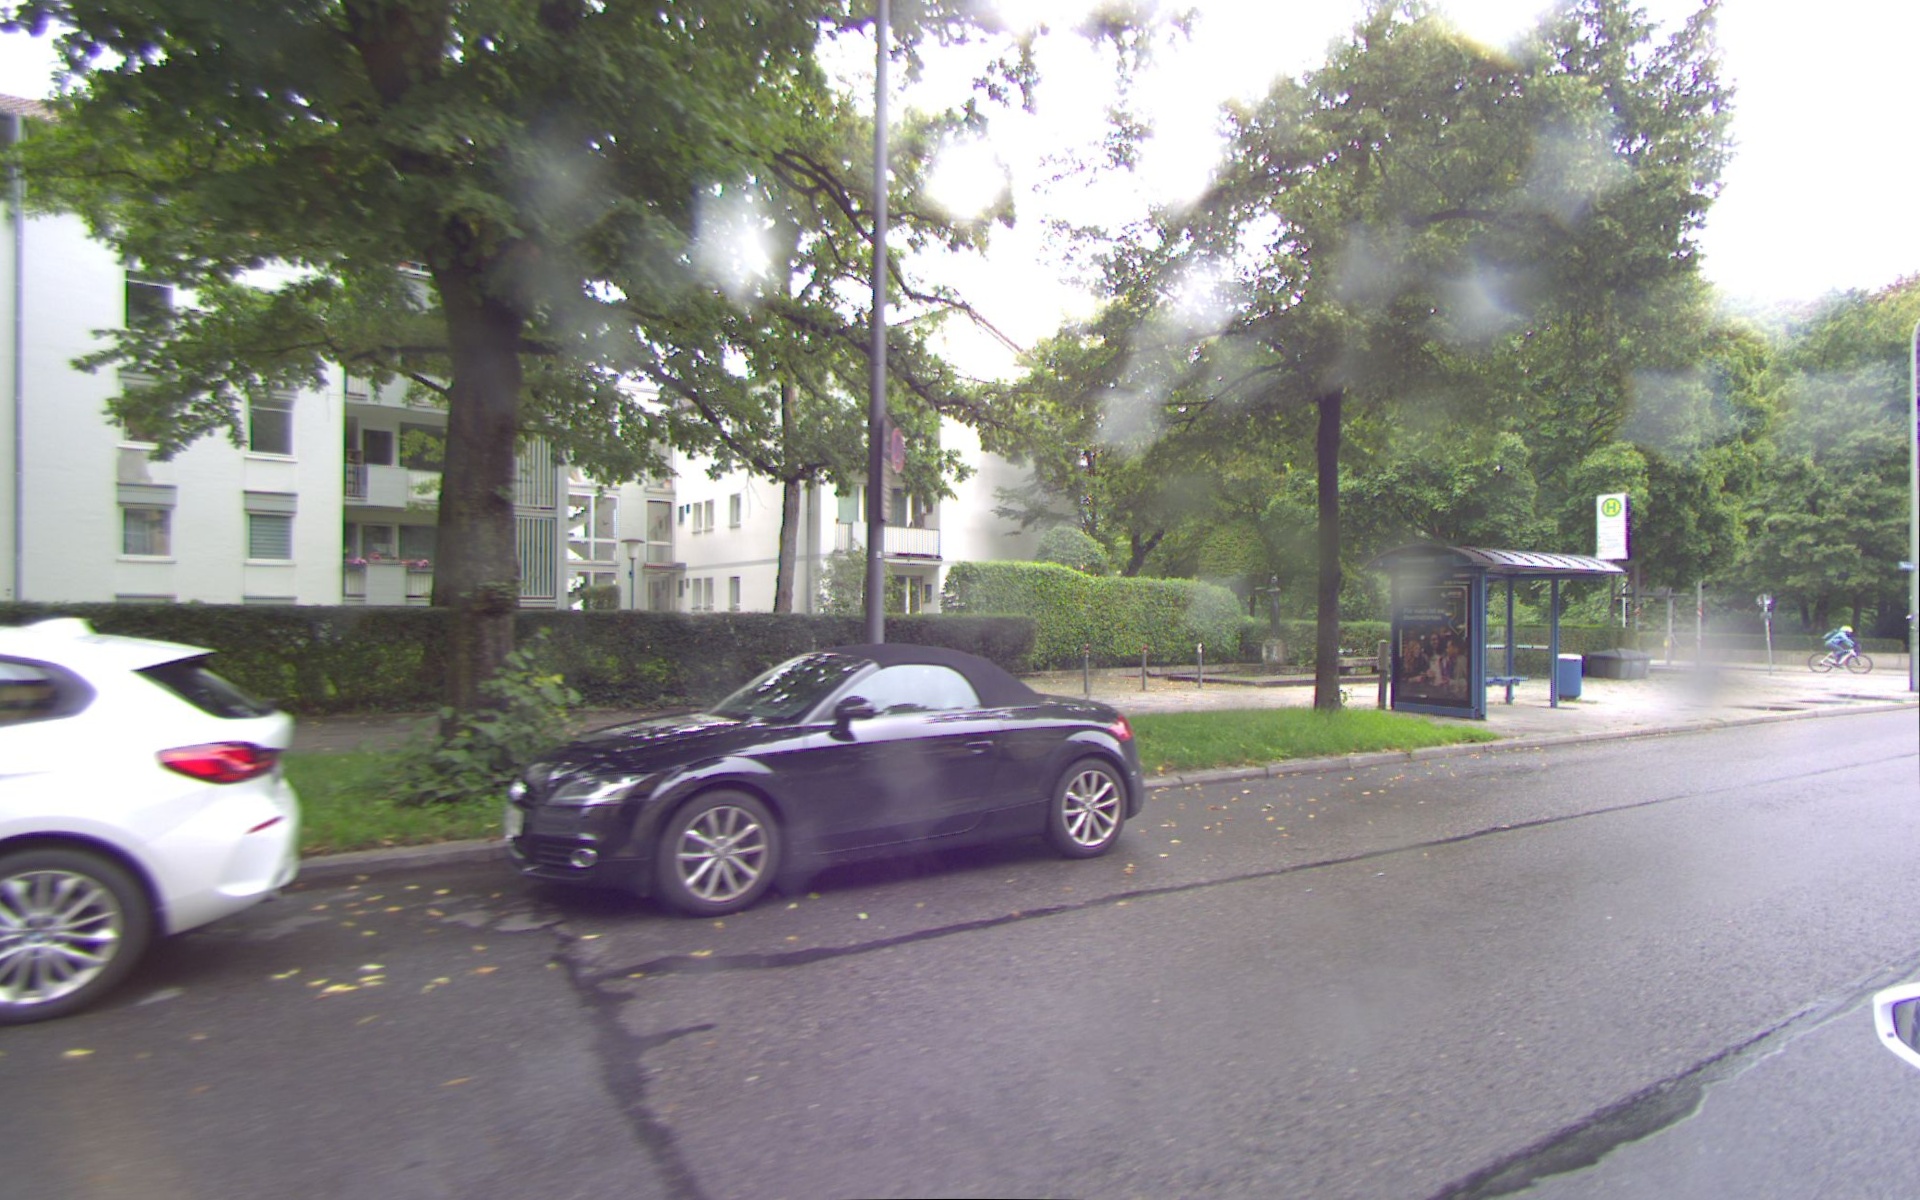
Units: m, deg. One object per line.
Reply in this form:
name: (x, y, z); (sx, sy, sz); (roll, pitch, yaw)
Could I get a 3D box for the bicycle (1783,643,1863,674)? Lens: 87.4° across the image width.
bicycle: (30.724, 2.072, 35.807); (2.073, 1.004, 0.680); (0, -2, 31)

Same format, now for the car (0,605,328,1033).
car: (-4.750, 0.761, 3.610); (4.155, 1.517, 1.568); (2, -2, -34)

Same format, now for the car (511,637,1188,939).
car: (-0.565, 0.937, 6.372); (3.999, 1.360, 1.569); (2, -2, -32)

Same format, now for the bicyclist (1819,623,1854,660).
bicyclist: (31.021, 1.480, 35.557); (0.839, 1.274, 0.524); (0, -2, 31)
